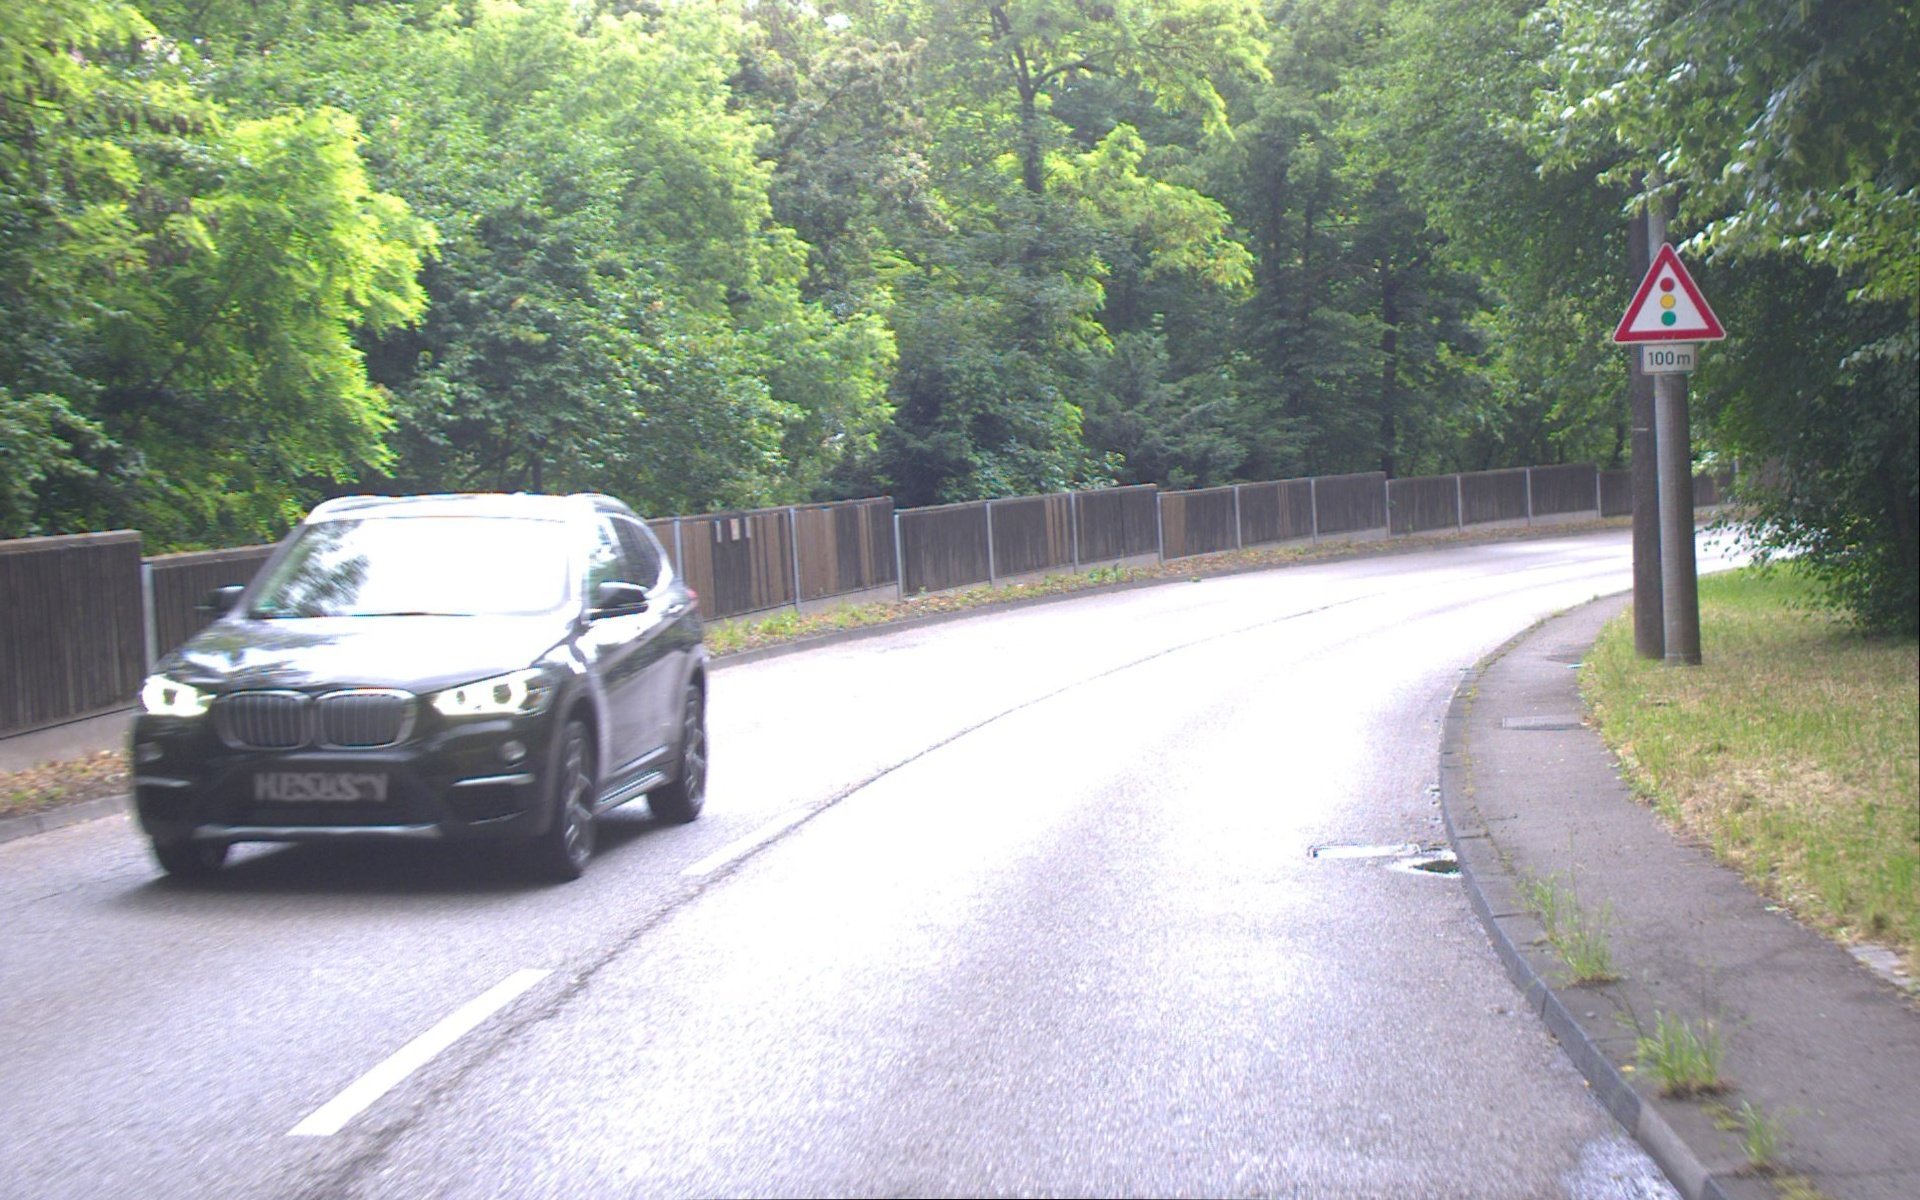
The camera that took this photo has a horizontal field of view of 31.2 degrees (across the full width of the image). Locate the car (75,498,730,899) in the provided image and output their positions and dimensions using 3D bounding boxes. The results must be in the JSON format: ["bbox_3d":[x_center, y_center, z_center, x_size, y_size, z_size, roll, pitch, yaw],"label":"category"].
[{"bbox_3d":[-2.331,0.334,15.558,1.846,1.559,4.232,0,1,6],"label":"car"}]
